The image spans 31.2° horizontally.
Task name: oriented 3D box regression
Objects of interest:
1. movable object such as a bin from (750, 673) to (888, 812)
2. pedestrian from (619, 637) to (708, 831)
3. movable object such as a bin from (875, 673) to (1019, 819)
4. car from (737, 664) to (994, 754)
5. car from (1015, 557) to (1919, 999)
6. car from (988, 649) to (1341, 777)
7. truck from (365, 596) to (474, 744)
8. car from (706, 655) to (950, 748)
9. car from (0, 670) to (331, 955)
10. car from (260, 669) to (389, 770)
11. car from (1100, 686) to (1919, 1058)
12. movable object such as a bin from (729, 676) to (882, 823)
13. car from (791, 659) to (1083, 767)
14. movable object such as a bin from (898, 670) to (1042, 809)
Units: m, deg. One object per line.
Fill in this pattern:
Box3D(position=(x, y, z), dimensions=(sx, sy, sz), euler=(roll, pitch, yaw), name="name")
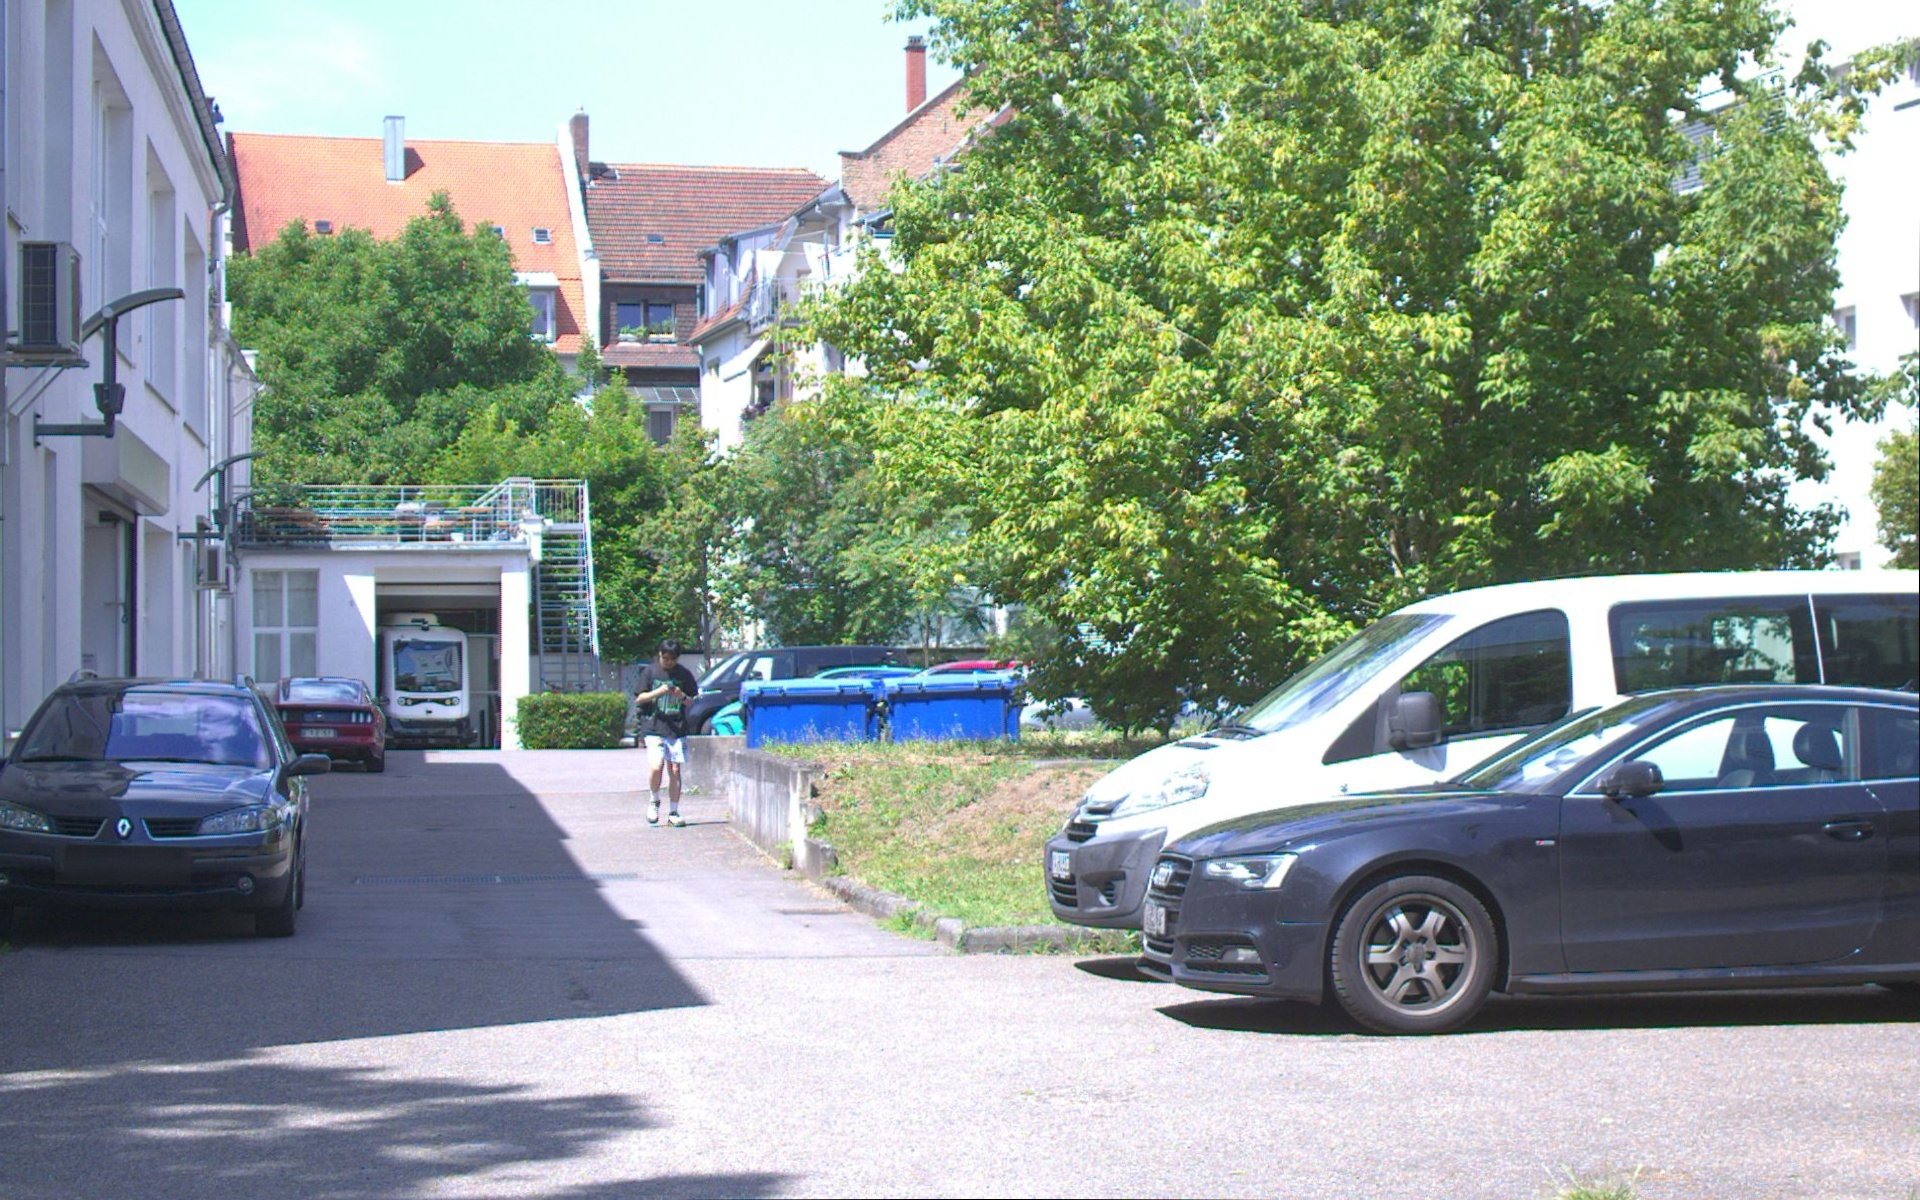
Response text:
Box3D(position=(-1.402, 1.394, 33.926), dimensions=(1.192, 1.322, 1.161), euler=(-1, -1, -11), name="movable object such as a bin")
Box3D(position=(-2.731, 1.223, 31.626), dimensions=(0.757, 1.749, 0.751), euler=(-1, -1, -8), name="pedestrian")
Box3D(position=(-0.135, 1.361, 32.384), dimensions=(1.216, 1.322, 1.160), euler=(-1, -1, -7), name="movable object such as a bin")
Box3D(position=(-1.577, 1.782, 56.627), dimensions=(3.986, 1.385, 1.805), euler=(-1, -1, -10), name="car")
Box3D(position=(2.793, 0.829, 17.005), dimensions=(4.758, 2.007, 2.000), euler=(0, -1, -9), name="car")
Box3D(position=(2.480, 1.360, 42.131), dimensions=(3.986, 1.473, 1.805), euler=(-1, -1, -10), name="car")
Box3D(position=(-11.098, 1.433, 70.418), dimensions=(1.787, 2.927, 4.654), euler=(0, -1, -14), name="truck")
Box3D(position=(-2.305, 1.739, 59.532), dimensions=(3.986, 1.529, 1.805), euler=(-1, -1, -10), name="car")
Box3D(position=(-4.668, 1.152, 20.142), dimensions=(1.754, 1.425, 4.387), euler=(0, -1, -8), name="car")
Box3D(position=(-9.469, 1.756, 51.370), dimensions=(1.798, 1.385, 4.001), euler=(-1, -1, -10), name="car")
Box3D(position=(3.025, 1.059, 14.277), dimensions=(4.610, 1.348, 1.834), euler=(0, -1, -9), name="car")
Box3D(position=(-1.461, 1.384, 32.161), dimensions=(1.338, 1.322, 1.160), euler=(-1, -1, -6), name="movable object such as a bin")
Box3D(position=(-0.357, 1.621, 50.096), dimensions=(3.986, 1.473, 1.805), euler=(-1, -1, -10), name="car")
Box3D(position=(0.088, 1.368, 34.099), dimensions=(1.216, 1.322, 1.161), euler=(-1, -1, -11), name="movable object such as a bin")
